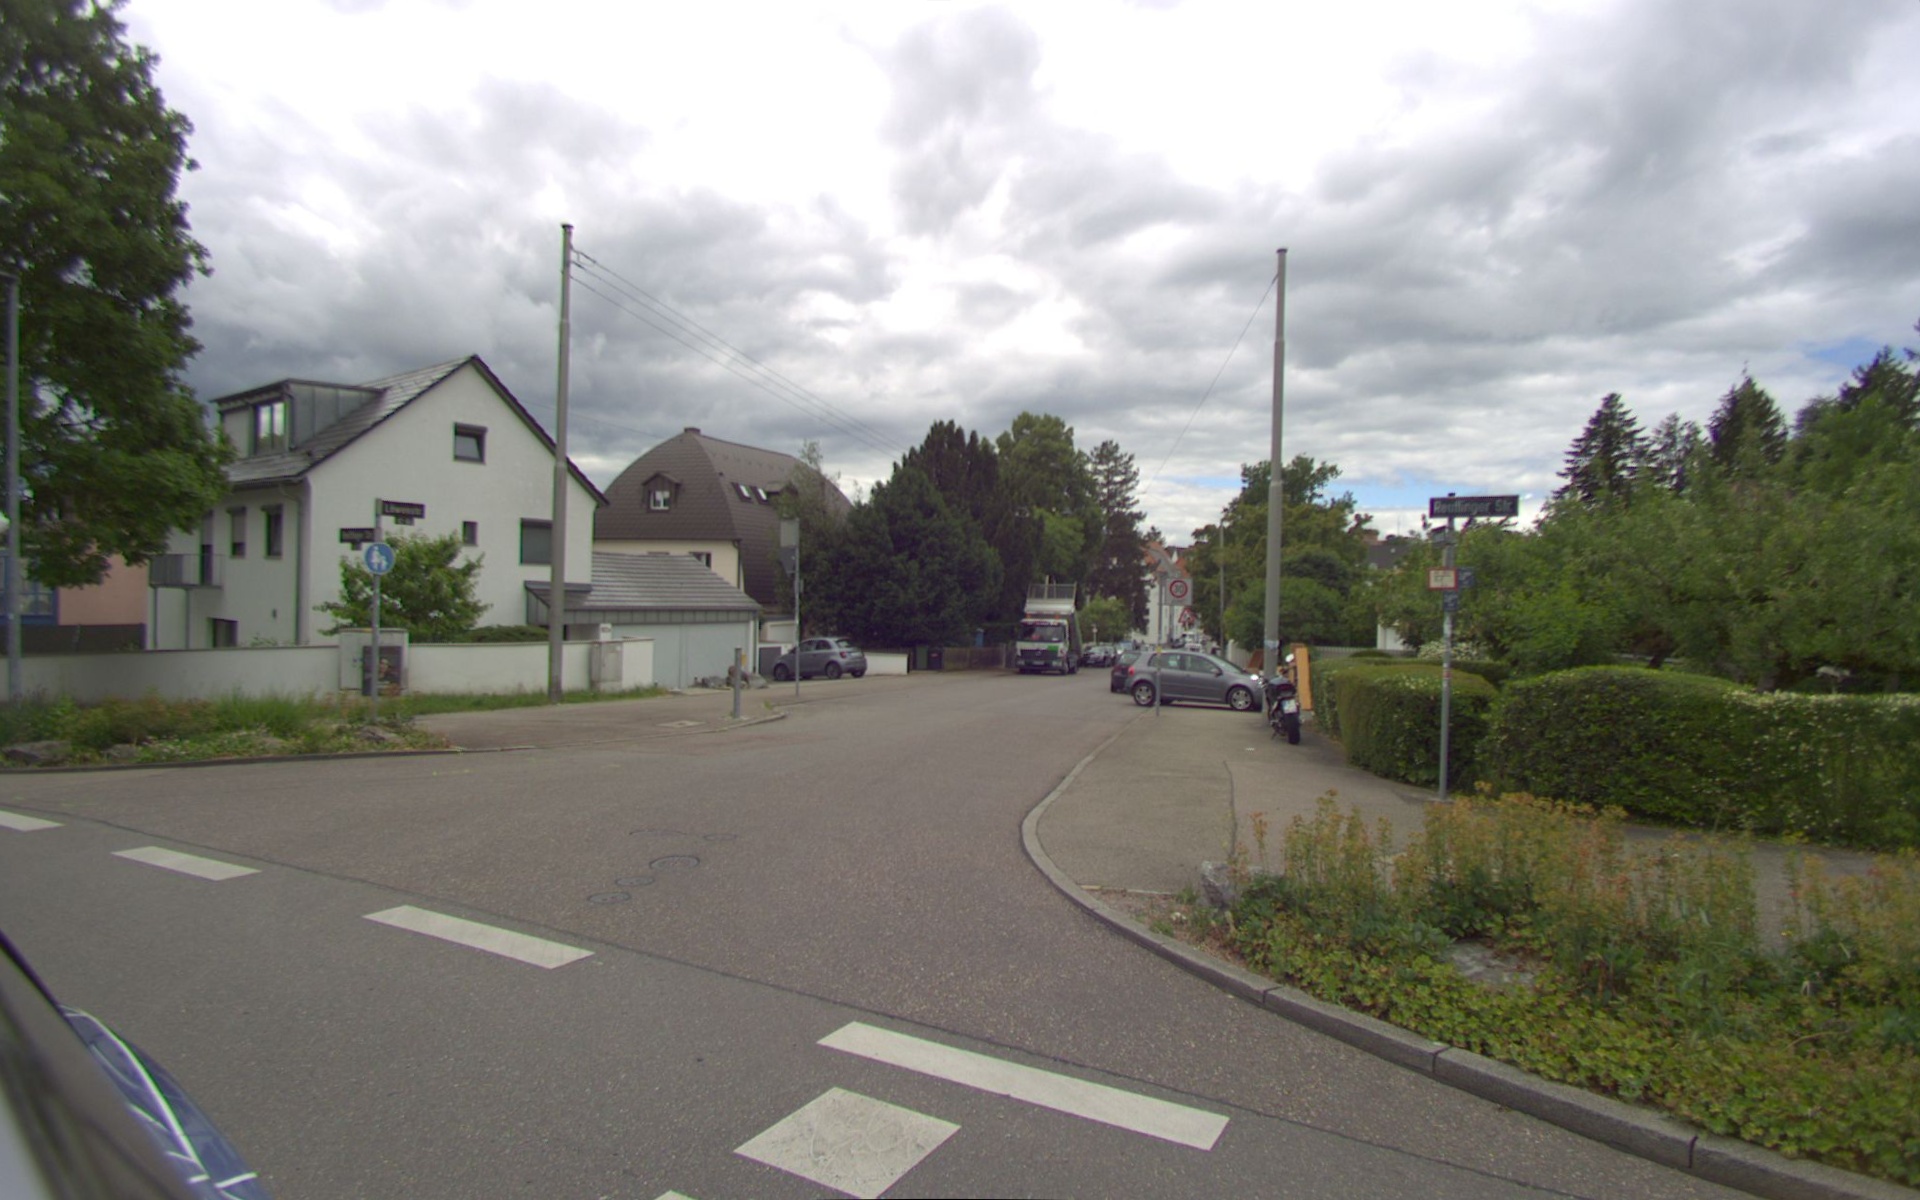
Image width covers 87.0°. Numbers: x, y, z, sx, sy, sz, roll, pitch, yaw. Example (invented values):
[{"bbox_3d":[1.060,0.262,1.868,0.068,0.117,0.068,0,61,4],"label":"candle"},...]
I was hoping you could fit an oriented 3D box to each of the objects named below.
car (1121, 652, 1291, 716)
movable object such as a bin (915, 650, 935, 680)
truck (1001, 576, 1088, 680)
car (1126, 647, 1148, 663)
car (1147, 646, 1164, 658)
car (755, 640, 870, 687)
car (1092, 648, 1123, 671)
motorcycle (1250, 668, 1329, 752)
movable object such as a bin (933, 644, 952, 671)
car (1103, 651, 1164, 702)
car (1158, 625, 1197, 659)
[{"bbox_3d":[6.367,2.130,26.324,3.989,1.473,1.718,-1,-3,34],"label":"car"},{"bbox_3d":[-1.458,2.715,42.348,0.593,1.217,0.948,-2,-6,12],"label":"movable object such as a bin"},{"bbox_3d":[4.278,1.411,49.368,3.123,4.586,7.920,2,-2,12],"label":"truck"},{"bbox_3d":[17.709,5.464,101.107,1.859,1.564,3.806,1,-2,15],"label":"car"},{"bbox_3d":[25.282,6.727,130.962,1.859,1.564,3.806,1,-2,15],"label":"car"},{"bbox_3d":[-5.318,2.296,36.400,3.841,1.508,1.676,-5,-4,29],"label":"car"},{"bbox_3d":[10.830,4.315,74.165,1.859,1.564,3.806,1,-2,15],"label":"car"},{"bbox_3d":[5.126,1.673,15.876,0.766,1.148,2.141,2,-3,8],"label":"motorcycle"},{"bbox_3d":[-0.720,2.406,42.175,0.593,1.114,0.948,-2,-6,12],"label":"movable object such as a bin"},{"bbox_3d":[5.832,2.502,33.699,1.742,1.455,3.786,3,-2,13],"label":"car"},{"bbox_3d":[10.651,2.039,49.386,1.607,1.479,3.296,4,-1,15],"label":"car"}]
